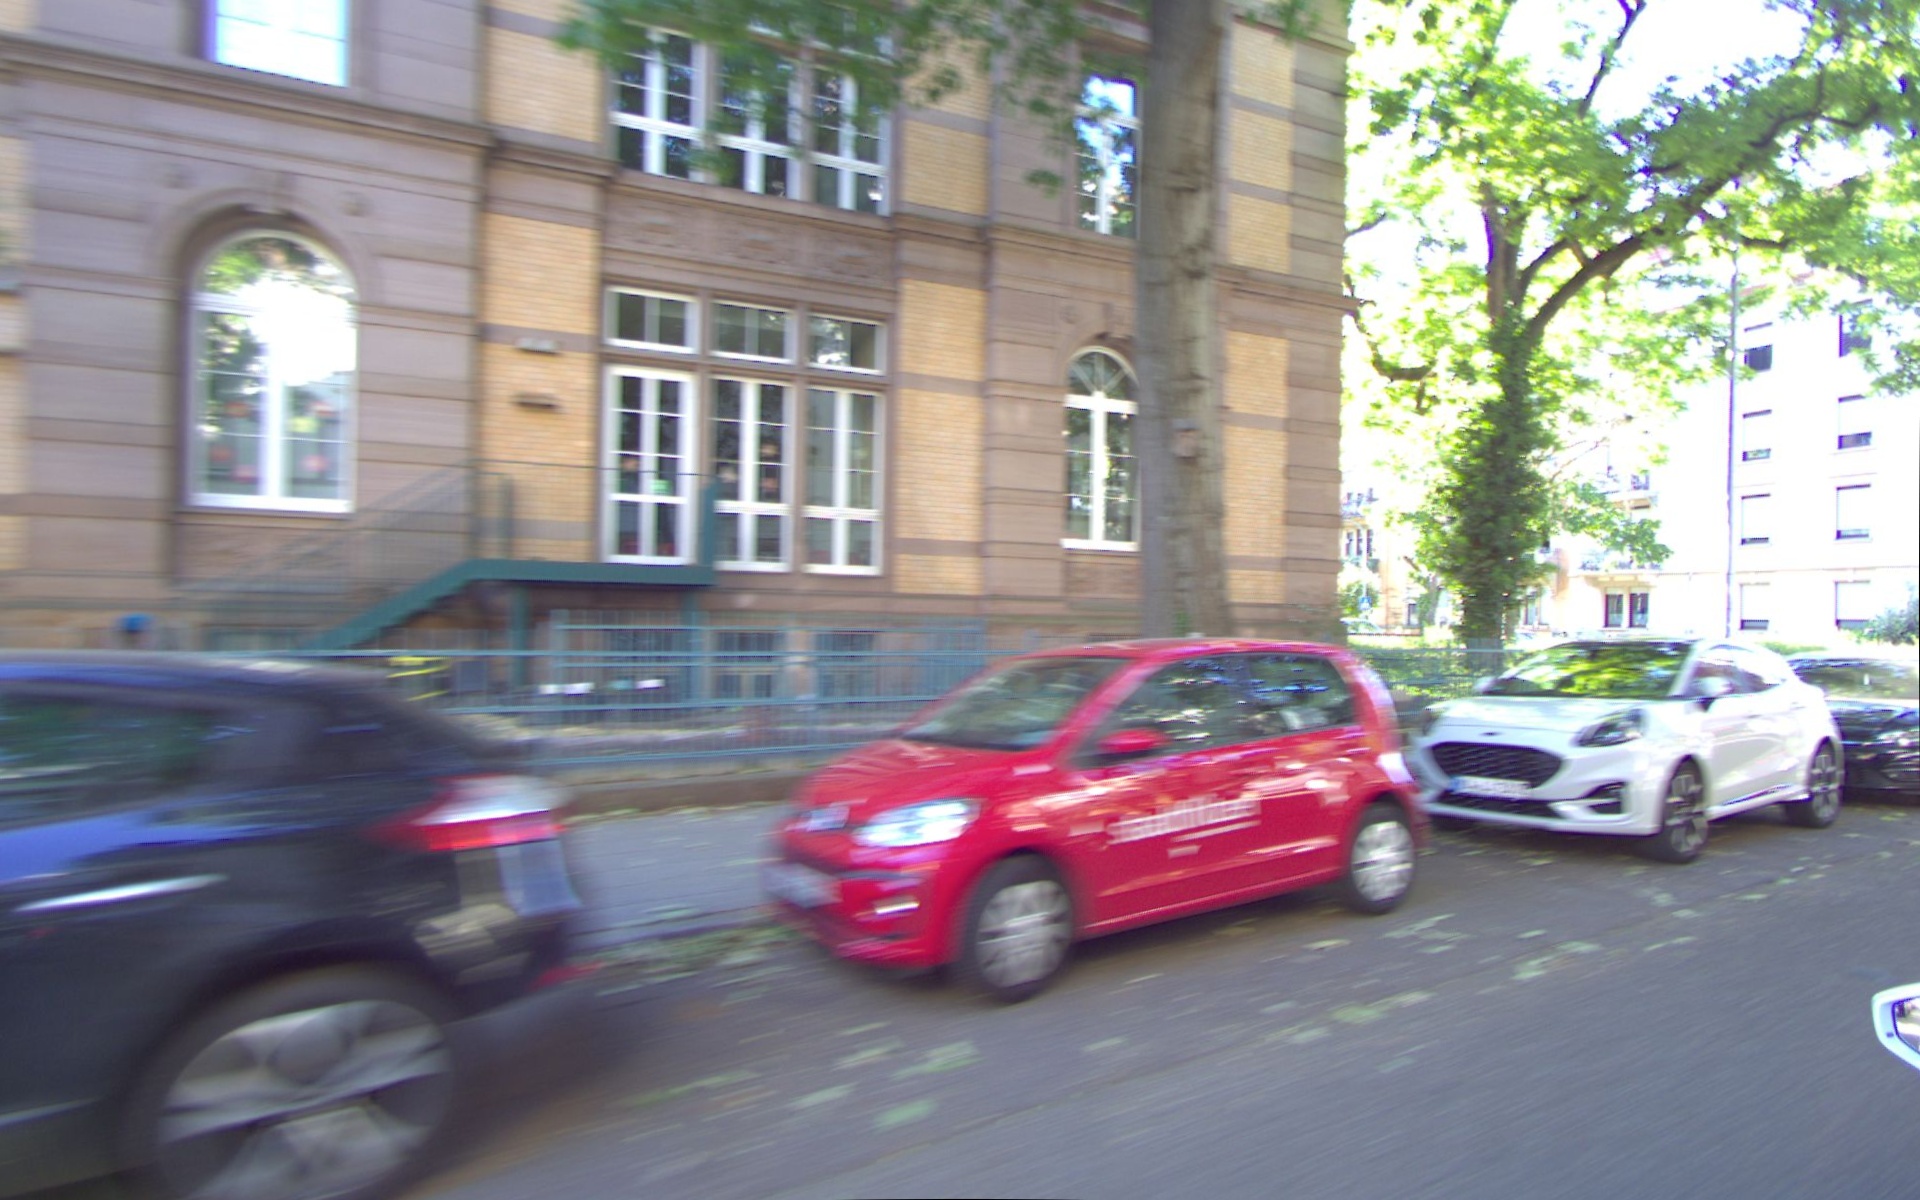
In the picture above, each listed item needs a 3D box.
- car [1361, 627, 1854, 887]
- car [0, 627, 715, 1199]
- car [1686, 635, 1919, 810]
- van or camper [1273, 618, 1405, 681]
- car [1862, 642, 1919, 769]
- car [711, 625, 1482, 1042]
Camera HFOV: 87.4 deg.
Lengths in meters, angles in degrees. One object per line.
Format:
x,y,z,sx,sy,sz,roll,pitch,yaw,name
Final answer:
5.265,1.076,8.035,4.091,1.574,1.814,2,-5,-34,car
-3.190,0.827,2.691,4.554,1.476,1.991,2,-3,-32,car
9.511,1.169,10.616,4.423,1.493,1.734,2,-5,-38,car
13.227,1.689,35.311,1.748,2.040,4.363,1,-1,-25,van or camper
13.773,1.343,13.311,3.876,1.571,1.687,2,-4,-33,car
0.865,0.922,5.351,3.983,1.479,1.593,2,-4,-32,car
